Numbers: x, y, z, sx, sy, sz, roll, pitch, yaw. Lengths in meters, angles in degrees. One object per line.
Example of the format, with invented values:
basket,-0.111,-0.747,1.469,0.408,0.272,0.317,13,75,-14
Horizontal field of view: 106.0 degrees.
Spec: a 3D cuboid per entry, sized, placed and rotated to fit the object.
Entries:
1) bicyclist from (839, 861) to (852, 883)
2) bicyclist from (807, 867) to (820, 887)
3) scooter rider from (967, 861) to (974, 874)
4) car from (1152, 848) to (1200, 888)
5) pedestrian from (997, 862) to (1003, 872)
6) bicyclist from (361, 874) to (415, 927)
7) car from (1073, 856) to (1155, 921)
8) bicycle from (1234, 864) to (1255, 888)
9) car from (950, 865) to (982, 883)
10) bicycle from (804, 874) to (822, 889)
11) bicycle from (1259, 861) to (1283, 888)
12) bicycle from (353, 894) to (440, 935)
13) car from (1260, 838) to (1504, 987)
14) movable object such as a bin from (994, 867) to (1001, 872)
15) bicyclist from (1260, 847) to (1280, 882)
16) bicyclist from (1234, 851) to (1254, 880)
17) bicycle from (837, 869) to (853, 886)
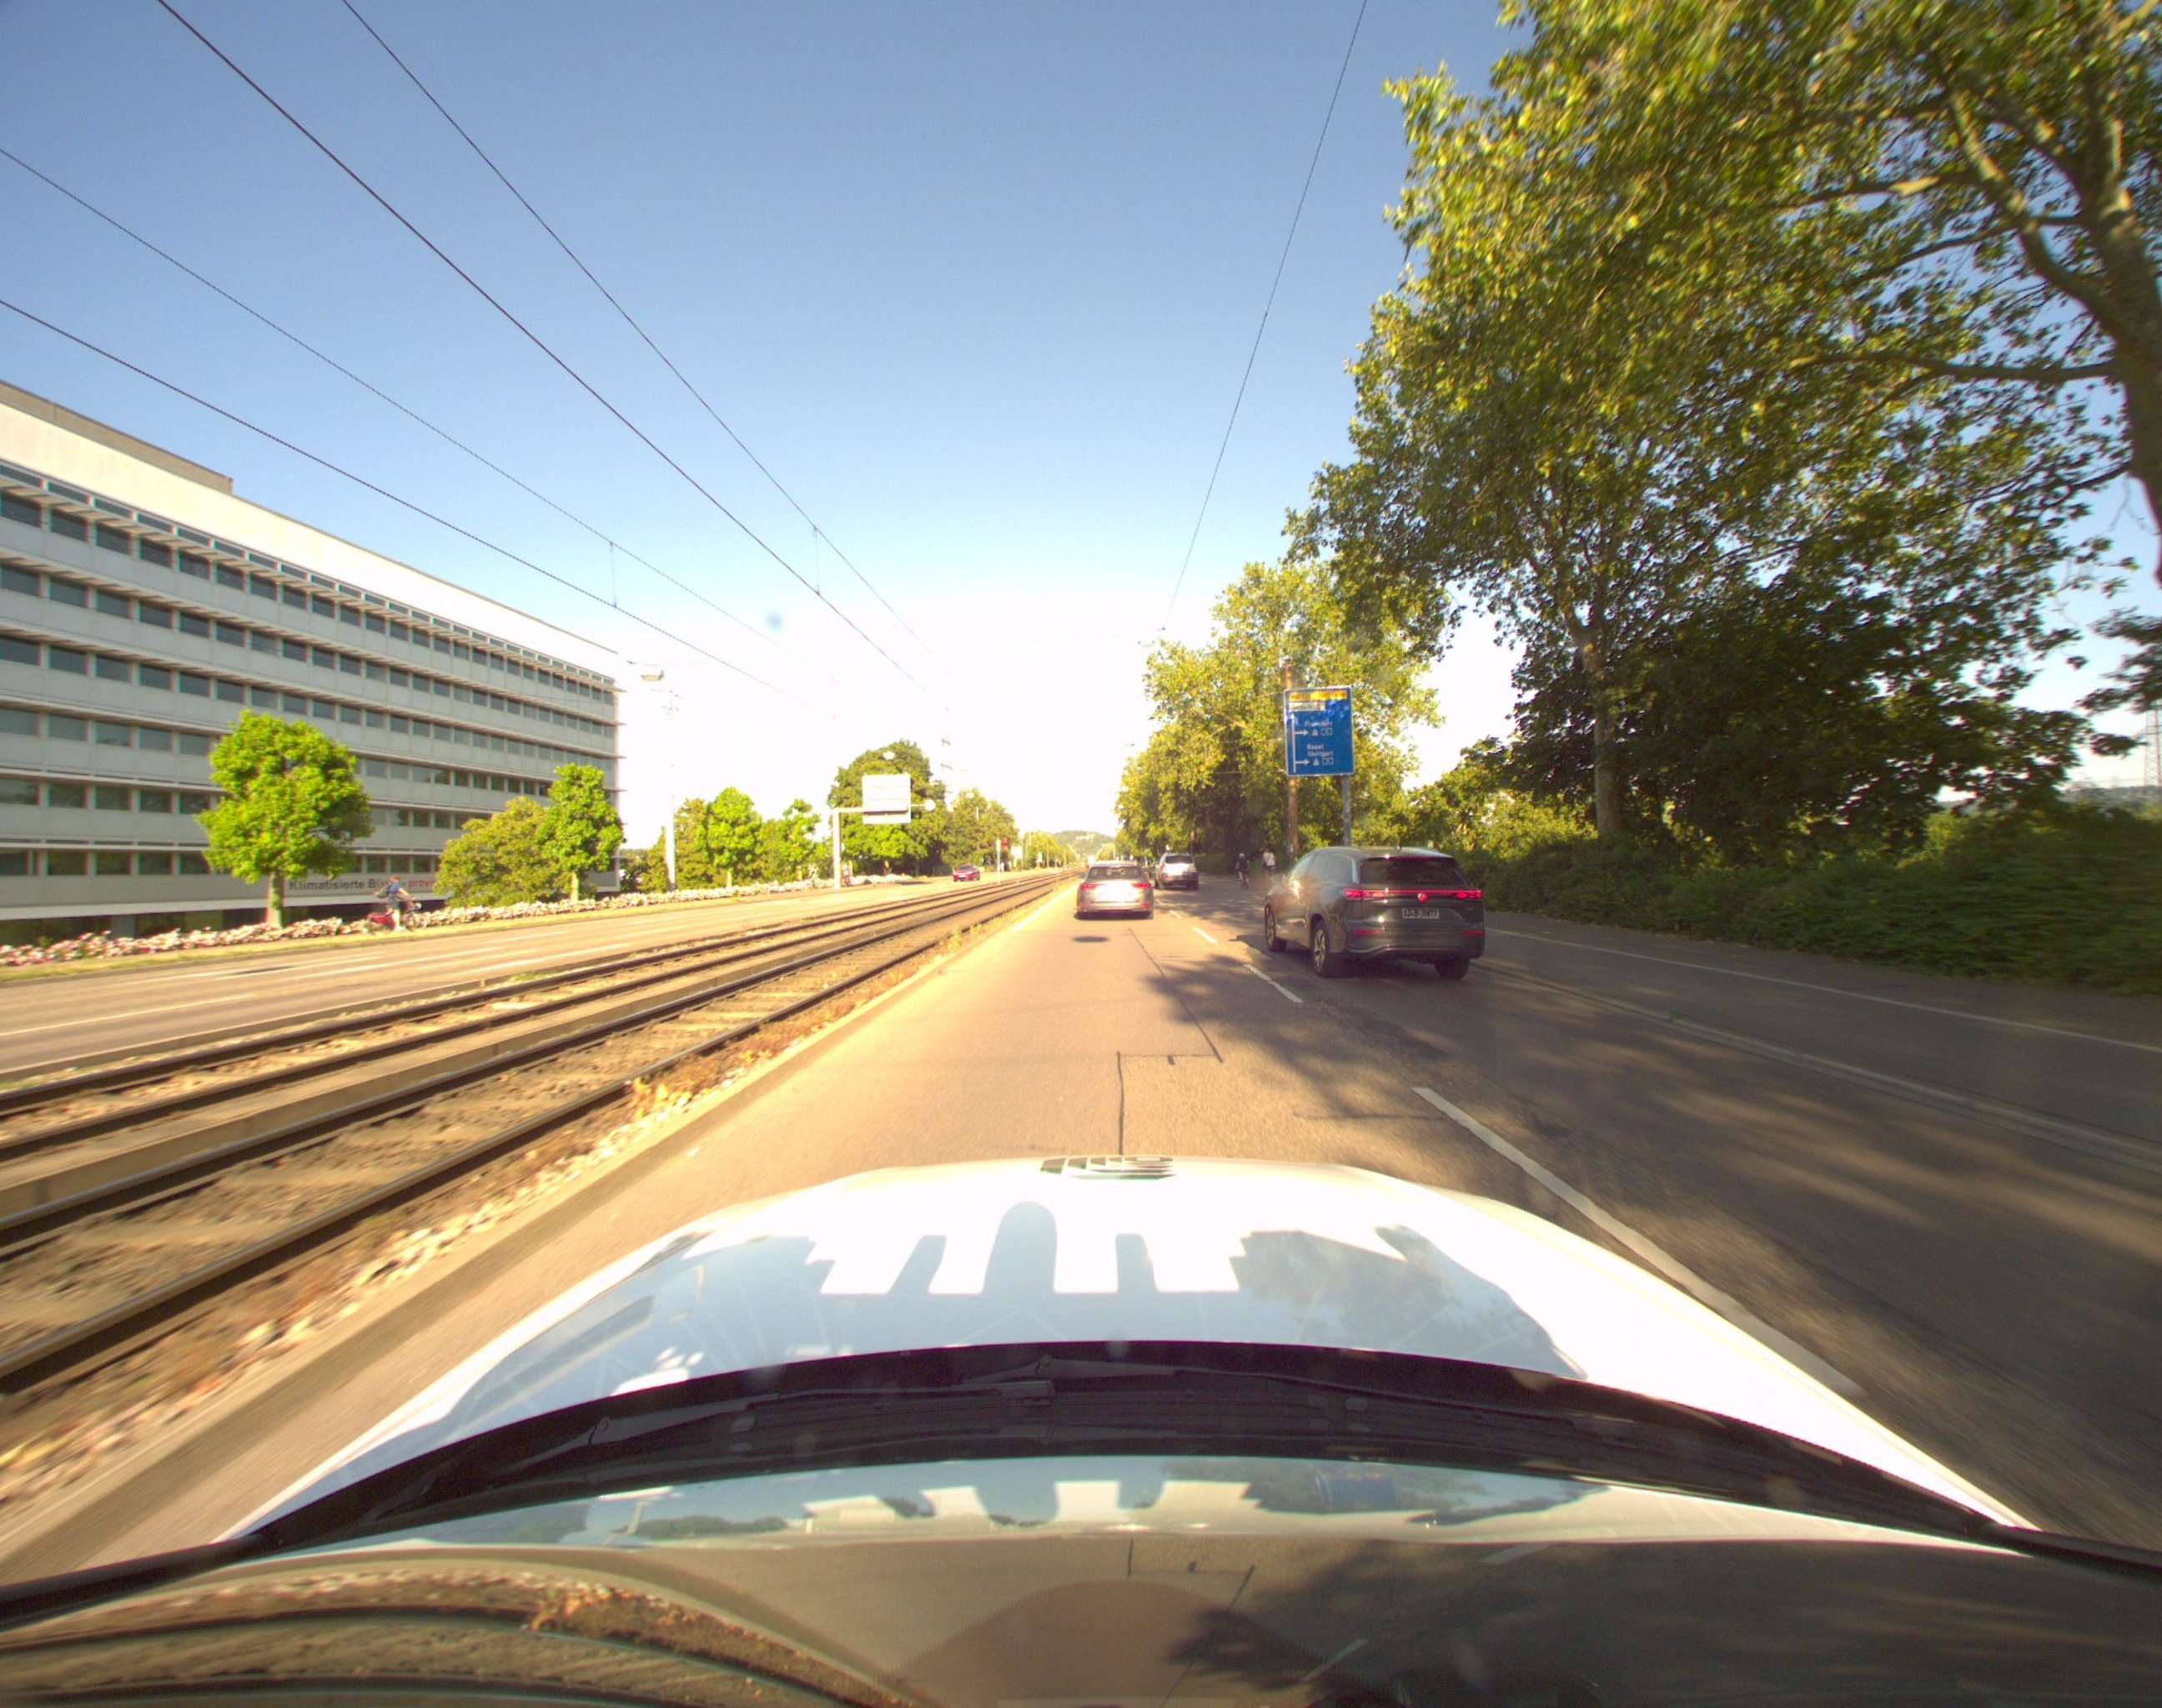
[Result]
bicyclist,-18.456,1.411,63.863,0.600,1.659,0.964,1,0,4
bicyclist,-18.885,1.626,57.535,0.622,1.374,0.880,1,0,2
scooter rider,-15.566,1.866,114.399,0.678,1.848,1.003,-2,-1,9
car,4.459,0.622,38.819,1.877,1.796,4.001,1,0,1
pedestrian,-14.880,2.430,149.340,0.718,1.756,0.840,0,-2,23
bicyclist,-20.874,1.385,24.545,0.701,1.512,0.972,1,0,8
car,0.860,0.801,21.178,1.858,1.467,4.668,-1,0,2
bicycle,7.107,0.932,35.378,0.563,0.974,1.789,-2,0,2
car,-10.758,1.848,76.597,2.031,1.503,4.890,-2,0,2
bicycle,-18.889,1.934,57.502,0.622,1.059,1.704,1,0,2
bicycle,8.225,0.861,35.352,0.620,1.120,1.813,-2,0,2
bicycle,-20.827,1.817,24.842,0.701,1.073,2.032,1,0,9
car,3.863,0.662,11.338,1.838,1.661,4.440,0,0,1
movable object such as a bin,-15.269,2.796,148.441,0.718,0.961,1.107,0,-2,23
bicyclist,8.187,0.451,35.348,0.683,1.509,0.891,-1,0,1
bicyclist,7.075,0.484,35.350,0.638,1.226,0.891,-3,0,1
bicycle,-18.465,1.826,63.831,0.600,1.219,1.750,1,0,4
